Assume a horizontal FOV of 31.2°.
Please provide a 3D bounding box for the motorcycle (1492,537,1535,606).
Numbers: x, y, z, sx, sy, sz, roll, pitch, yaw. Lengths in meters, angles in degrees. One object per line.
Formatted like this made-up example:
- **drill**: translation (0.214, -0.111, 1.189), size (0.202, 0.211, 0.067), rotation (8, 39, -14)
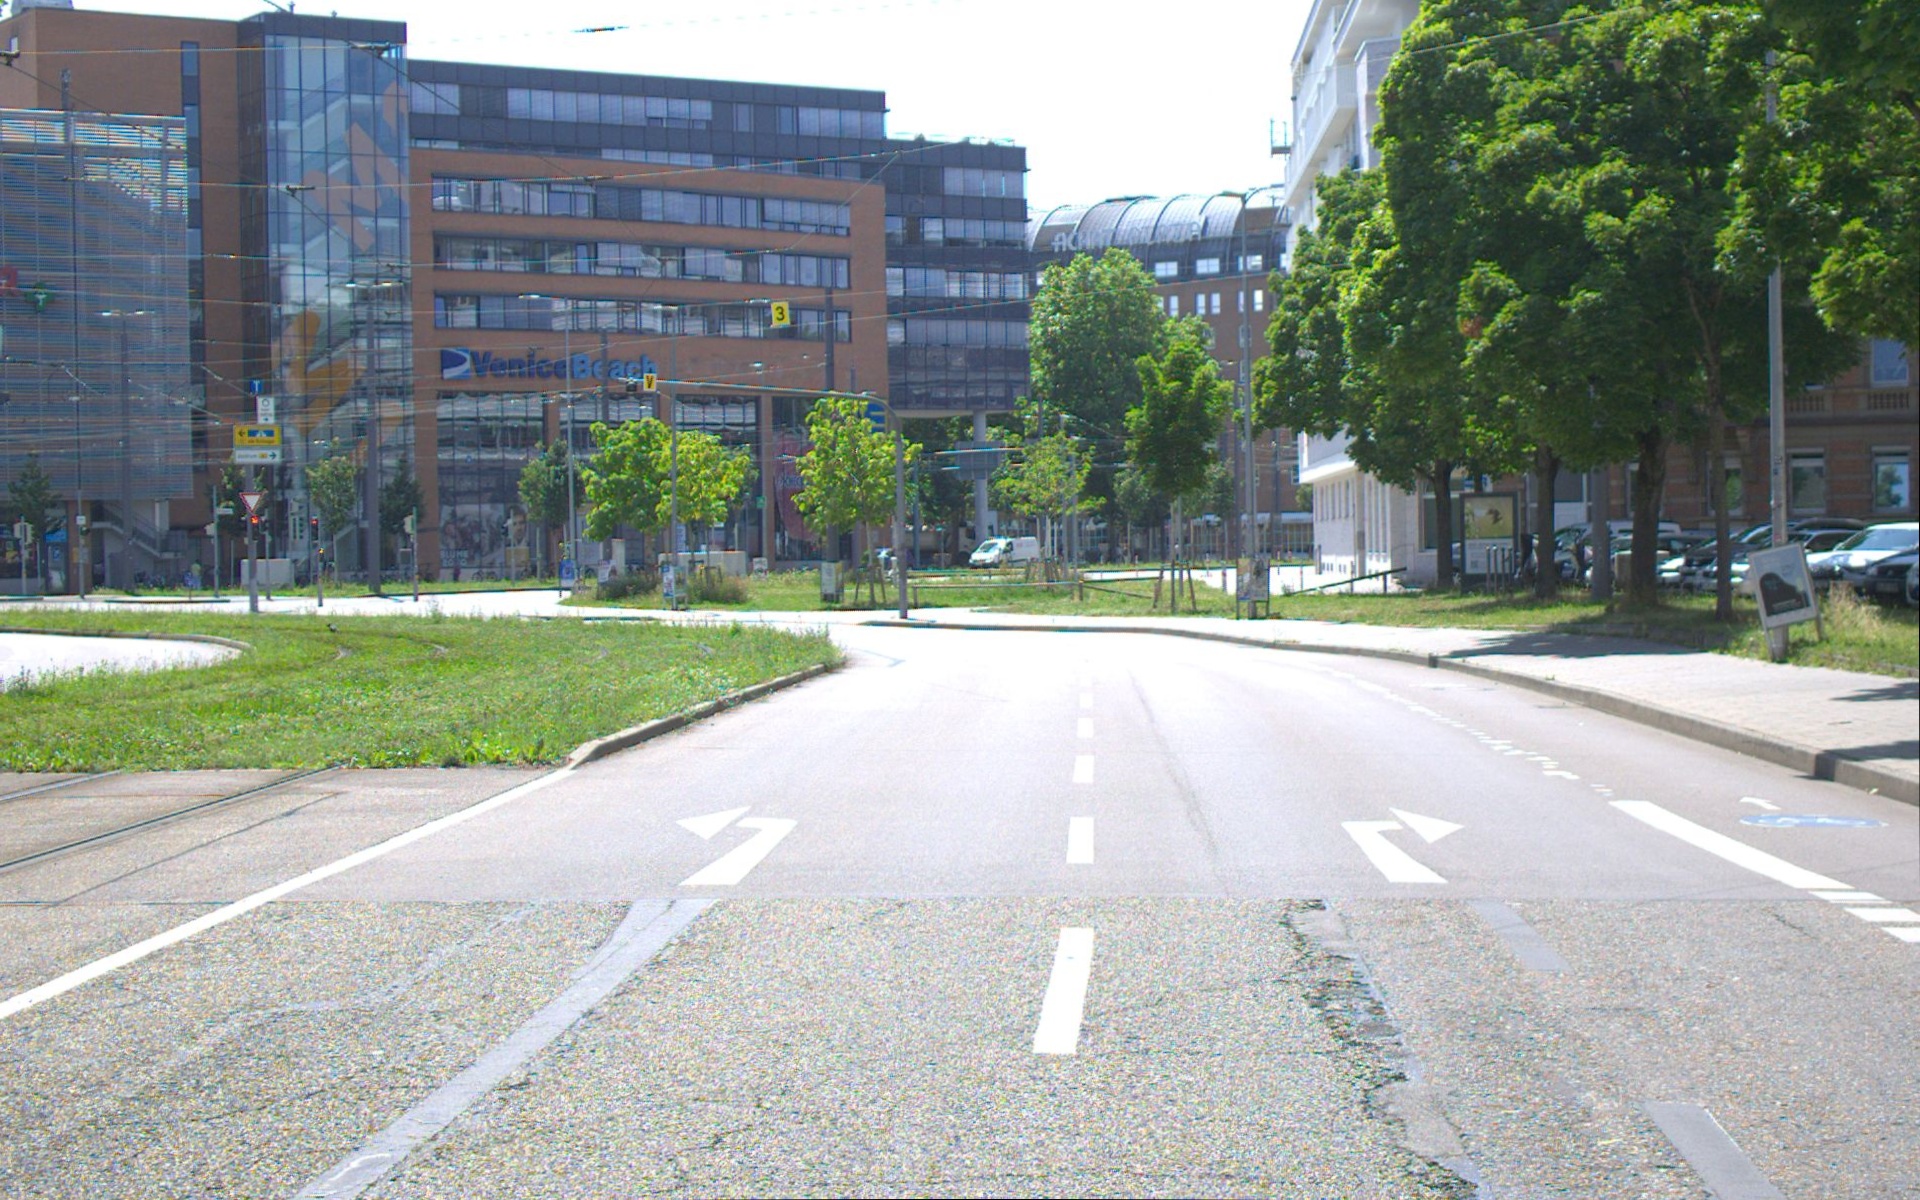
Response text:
- **motorcycle**: translation (11.747, -0.617, 72.965), size (0.675, 1.408, 1.856), rotation (-2, 1, 4)

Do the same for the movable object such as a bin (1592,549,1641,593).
- **movable object such as a bin**: translation (14.027, -0.629, 73.439), size (0.986, 0.934, 0.701), rotation (0, 1, 14)

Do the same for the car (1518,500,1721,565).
- **car**: translation (16.606, -1.690, 86.541), size (4.857, 1.595, 1.836), rotation (0, 1, -25)

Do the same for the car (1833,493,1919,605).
- **car**: translation (15.563, -0.777, 52.394), size (3.986, 1.656, 1.973), rotation (0, 1, -23)

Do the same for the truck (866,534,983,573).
- **truck**: translation (-2.650, -3.439, 254.911), size (9.228, 2.799, 1.996), rotation (1, 1, 34)

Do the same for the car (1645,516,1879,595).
- **car**: translation (15.212, -0.843, 65.202), size (4.078, 1.464, 1.798), rotation (0, 1, -25)

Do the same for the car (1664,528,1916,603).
- **car**: translation (15.008, -0.630, 62.207), size (3.986, 1.309, 1.973), rotation (0, 1, -19)

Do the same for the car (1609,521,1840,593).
- **car**: translation (15.081, -0.848, 67.801), size (4.333, 1.371, 1.583), rotation (0, 1, -23)

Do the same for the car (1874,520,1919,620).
- **car**: translation (15.196, -0.433, 49.281), size (3.987, 1.395, 1.712), rotation (0, 1, -30)

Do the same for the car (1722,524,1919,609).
- **car**: translation (14.761, -0.537, 54.566), size (4.770, 1.309, 2.150), rotation (0, 1, -19)
